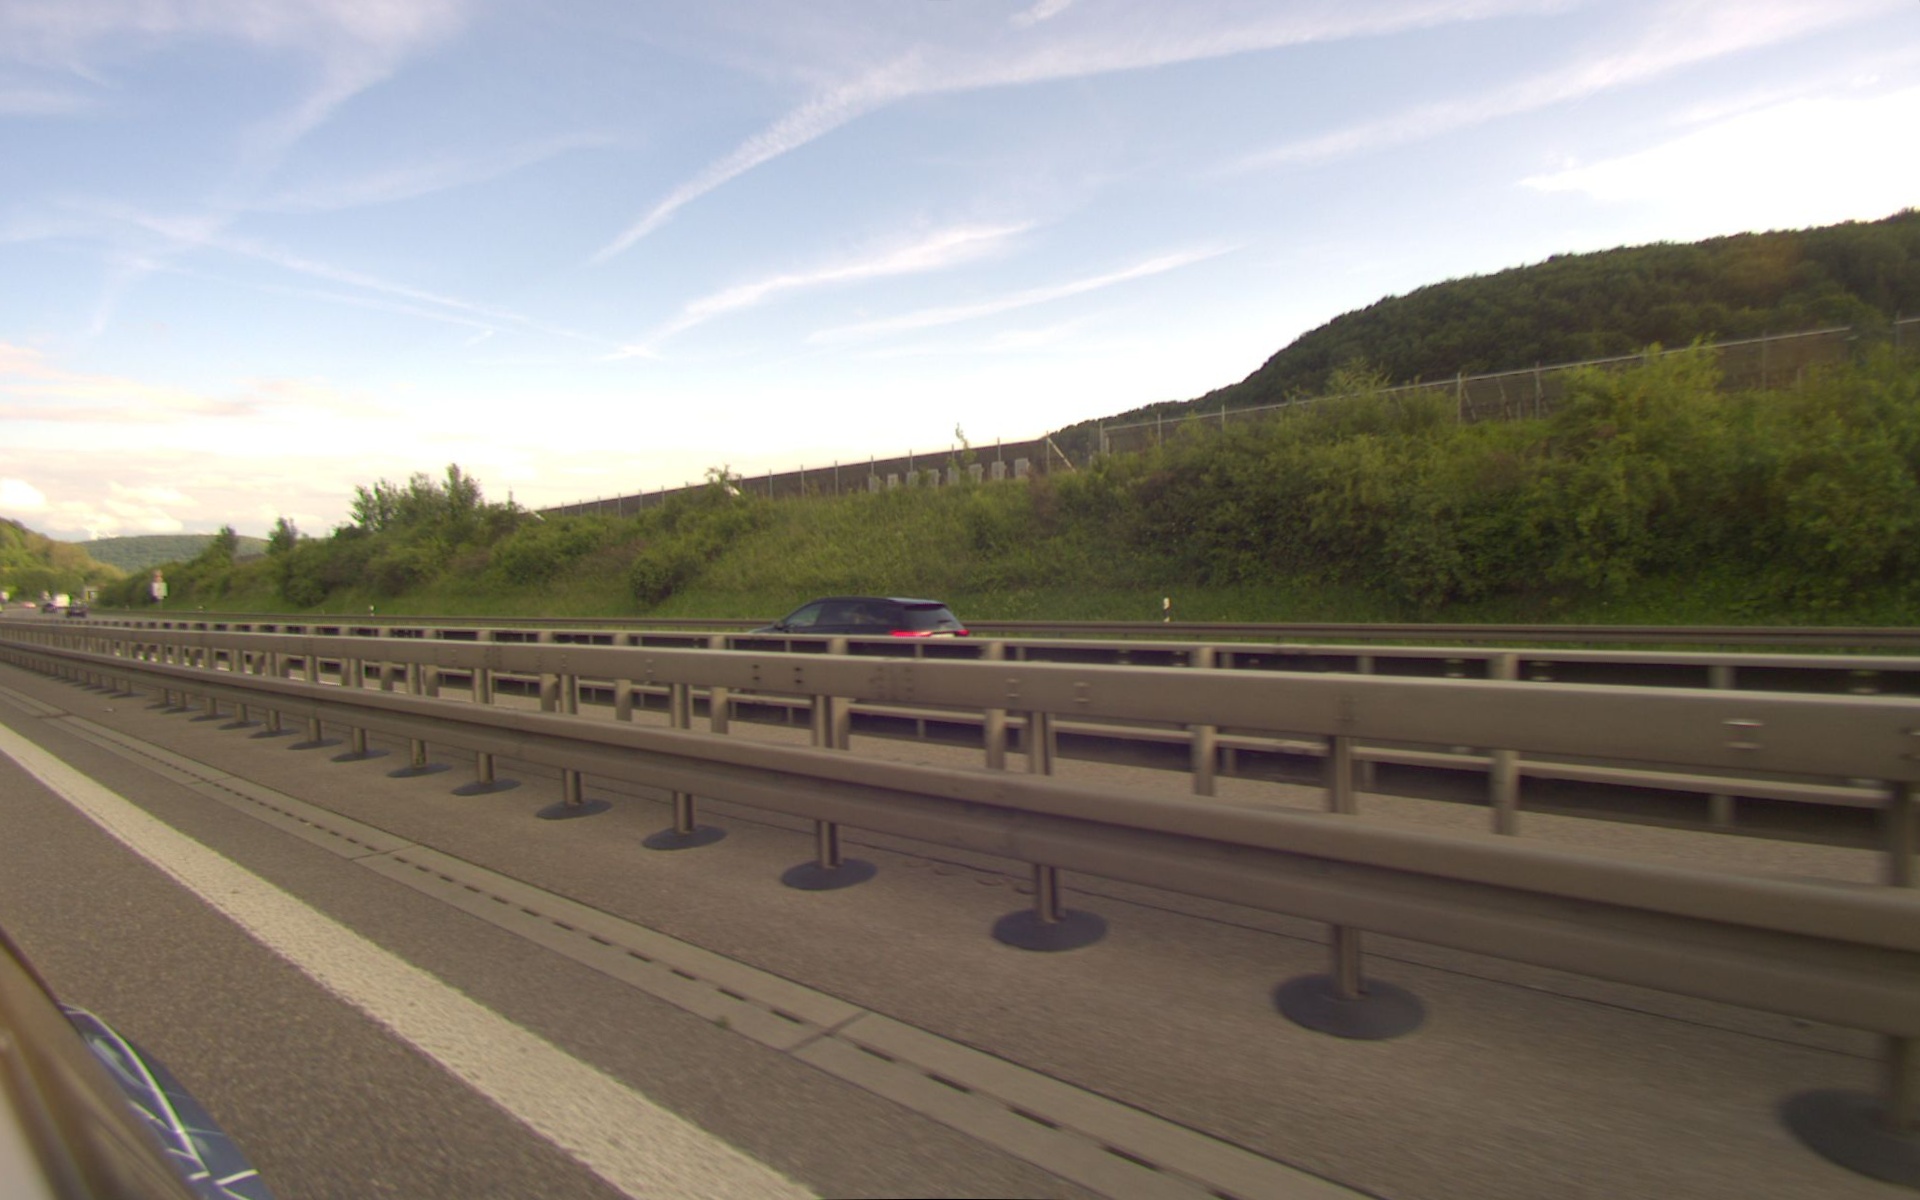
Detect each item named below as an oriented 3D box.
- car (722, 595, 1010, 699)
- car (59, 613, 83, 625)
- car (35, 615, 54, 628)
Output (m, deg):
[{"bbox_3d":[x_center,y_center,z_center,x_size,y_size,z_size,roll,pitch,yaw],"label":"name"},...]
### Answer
[{"bbox_3d":[-1.614,0.666,16.420,4.582,1.441,1.974,0,1,39],"label":"car"},{"bbox_3d":[-105.311,2.260,119.928,3.999,1.426,1.688,0,0,42],"label":"car"},{"bbox_3d":[-153.507,3.531,169.739,5.020,2.055,1.941,0,1,44],"label":"car"}]
